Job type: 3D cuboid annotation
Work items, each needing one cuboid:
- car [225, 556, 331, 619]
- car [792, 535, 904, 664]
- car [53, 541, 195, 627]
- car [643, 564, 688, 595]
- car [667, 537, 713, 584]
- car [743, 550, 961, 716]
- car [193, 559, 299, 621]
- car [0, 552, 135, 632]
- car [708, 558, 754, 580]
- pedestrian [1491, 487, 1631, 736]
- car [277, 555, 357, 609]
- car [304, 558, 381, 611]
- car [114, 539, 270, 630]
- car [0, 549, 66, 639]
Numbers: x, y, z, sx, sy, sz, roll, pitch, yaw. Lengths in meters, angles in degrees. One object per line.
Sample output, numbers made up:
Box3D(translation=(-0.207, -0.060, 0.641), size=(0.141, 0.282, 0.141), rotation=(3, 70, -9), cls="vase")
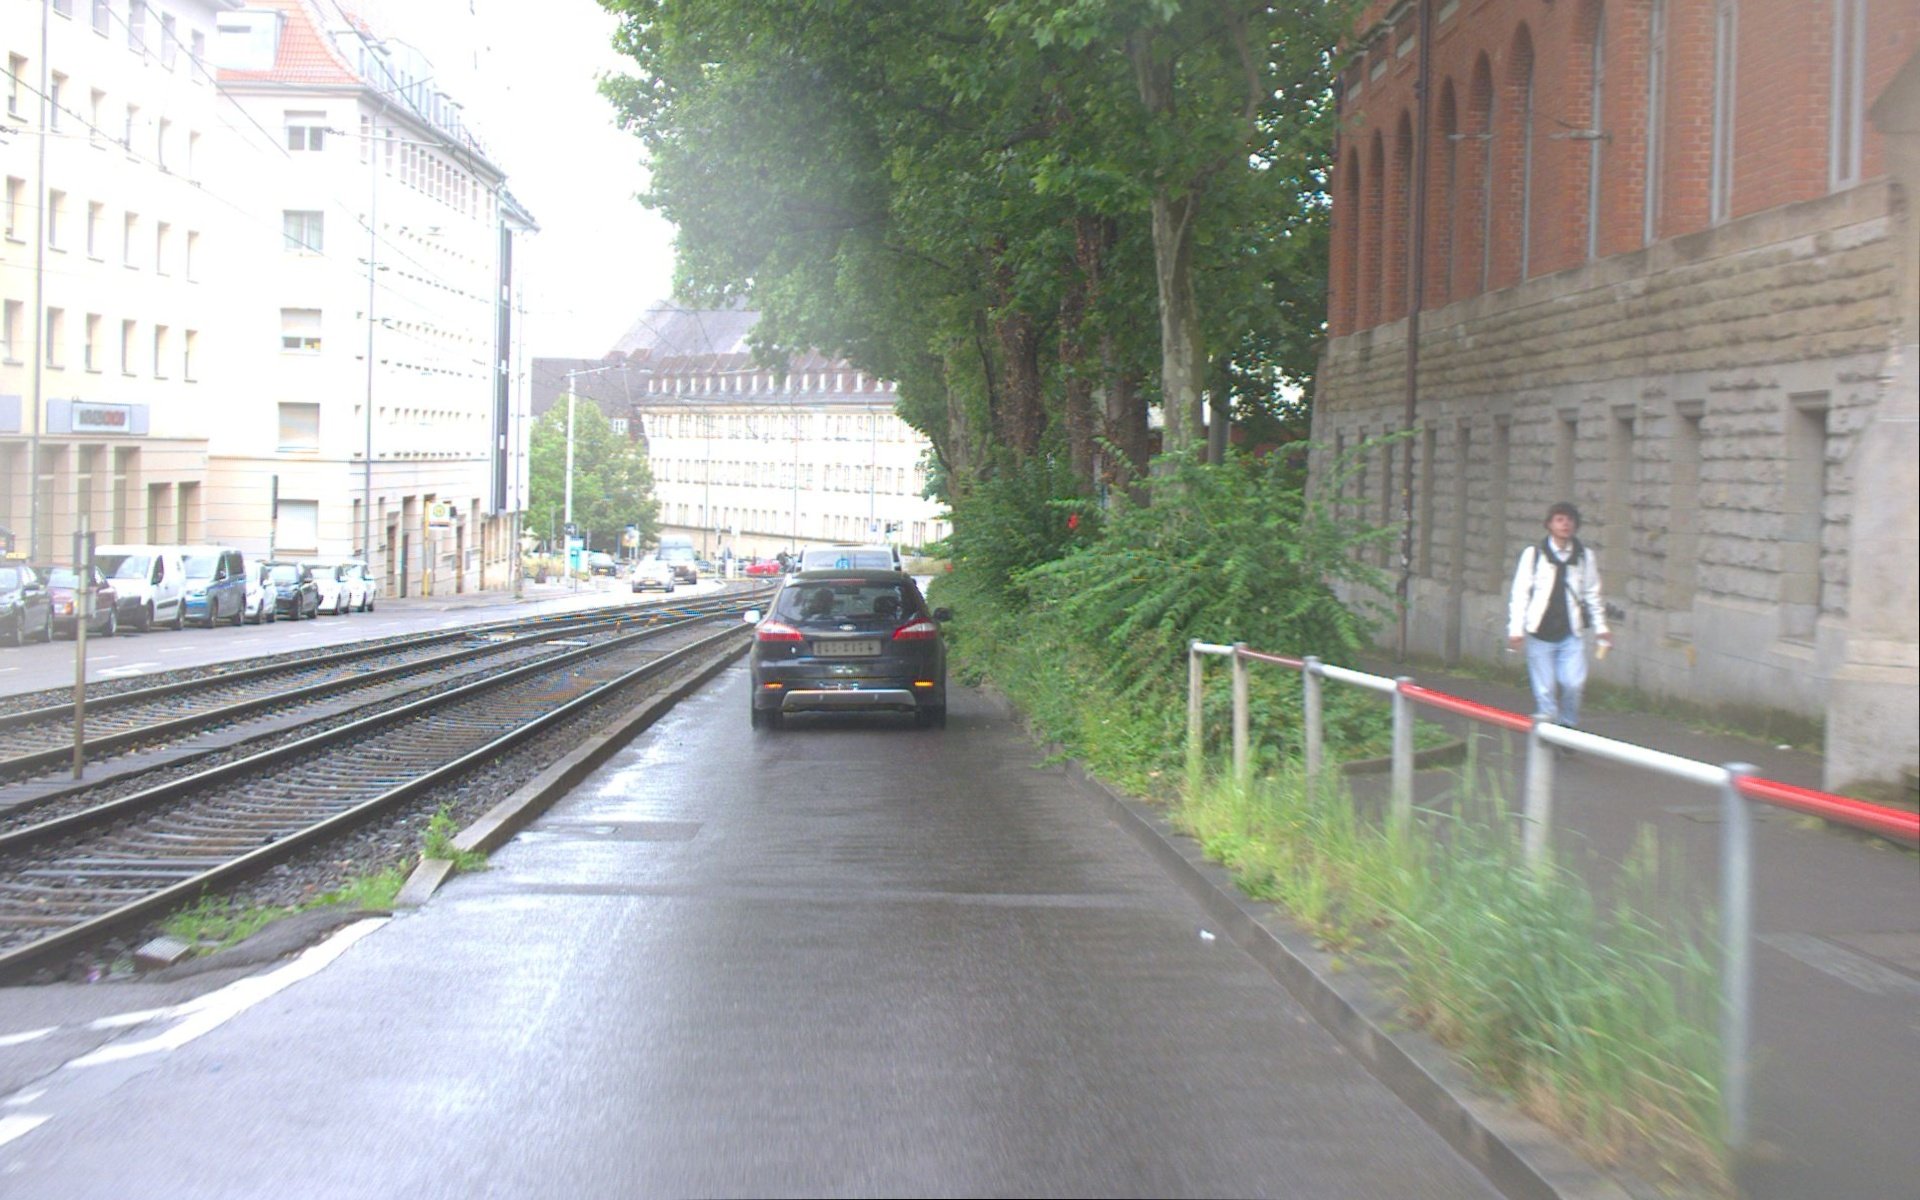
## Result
Box3D(translation=(-17.216, -0.338, 86.995), size=(1.813, 1.494, 4.583), rotation=(2, 1, -1), cls="car")
Box3D(translation=(-1.849, -0.011, 55.934), size=(1.740, 2.007, 3.904), rotation=(0, 0, -3), cls="car")
Box3D(translation=(-17.286, -0.336, 71.290), size=(1.867, 1.711, 4.460), rotation=(0, 0, 0), cls="car")
Box3D(translation=(-13.758, -0.971, 160.678), size=(1.712, 1.457, 4.280), rotation=(0, 1, 0), cls="car")
Box3D(translation=(-14.552, -2.112, 185.376), size=(1.993, 2.443, 5.998), rotation=(0, 0, 0), cls="car")
Box3D(translation=(-1.048, 0.288, 33.122), size=(1.933, 1.448, 4.318), rotation=(1, 0, -2), cls="car")
Box3D(translation=(-17.083, -0.263, 82.415), size=(1.691, 1.434, 4.049), rotation=(0, 1, 0), cls="car")
Box3D(translation=(-17.272, -0.165, 65.718), size=(1.851, 1.427, 4.832), rotation=(2, 0, -1), cls="car")
Box3D(translation=(-16.976, -2.291, 254.893), size=(1.993, 1.537, 4.001), rotation=(-1, 1, -27), cls="car")
Box3D(translation=(4.114, 0.072, 23.584), size=(0.823, 1.673, 0.860), rotation=(0, 0, 2), cls="pedestrian")
Box3D(translation=(-17.771, -0.508, 95.195), size=(1.703, 1.392, 3.936), rotation=(2, 0, -4), cls="car")
Box3D(translation=(-17.930, -0.463, 99.941), size=(1.708, 1.445, 3.542), rotation=(2, 0, -3), cls="car")
Box3D(translation=(-17.199, -0.371, 77.278), size=(1.994, 1.898, 5.459), rotation=(2, 1, 3), cls="car")
Box3D(translation=(-16.917, -0.118, 59.945), size=(1.851, 1.503, 4.993), rotation=(0, 0, -6), cls="car")
